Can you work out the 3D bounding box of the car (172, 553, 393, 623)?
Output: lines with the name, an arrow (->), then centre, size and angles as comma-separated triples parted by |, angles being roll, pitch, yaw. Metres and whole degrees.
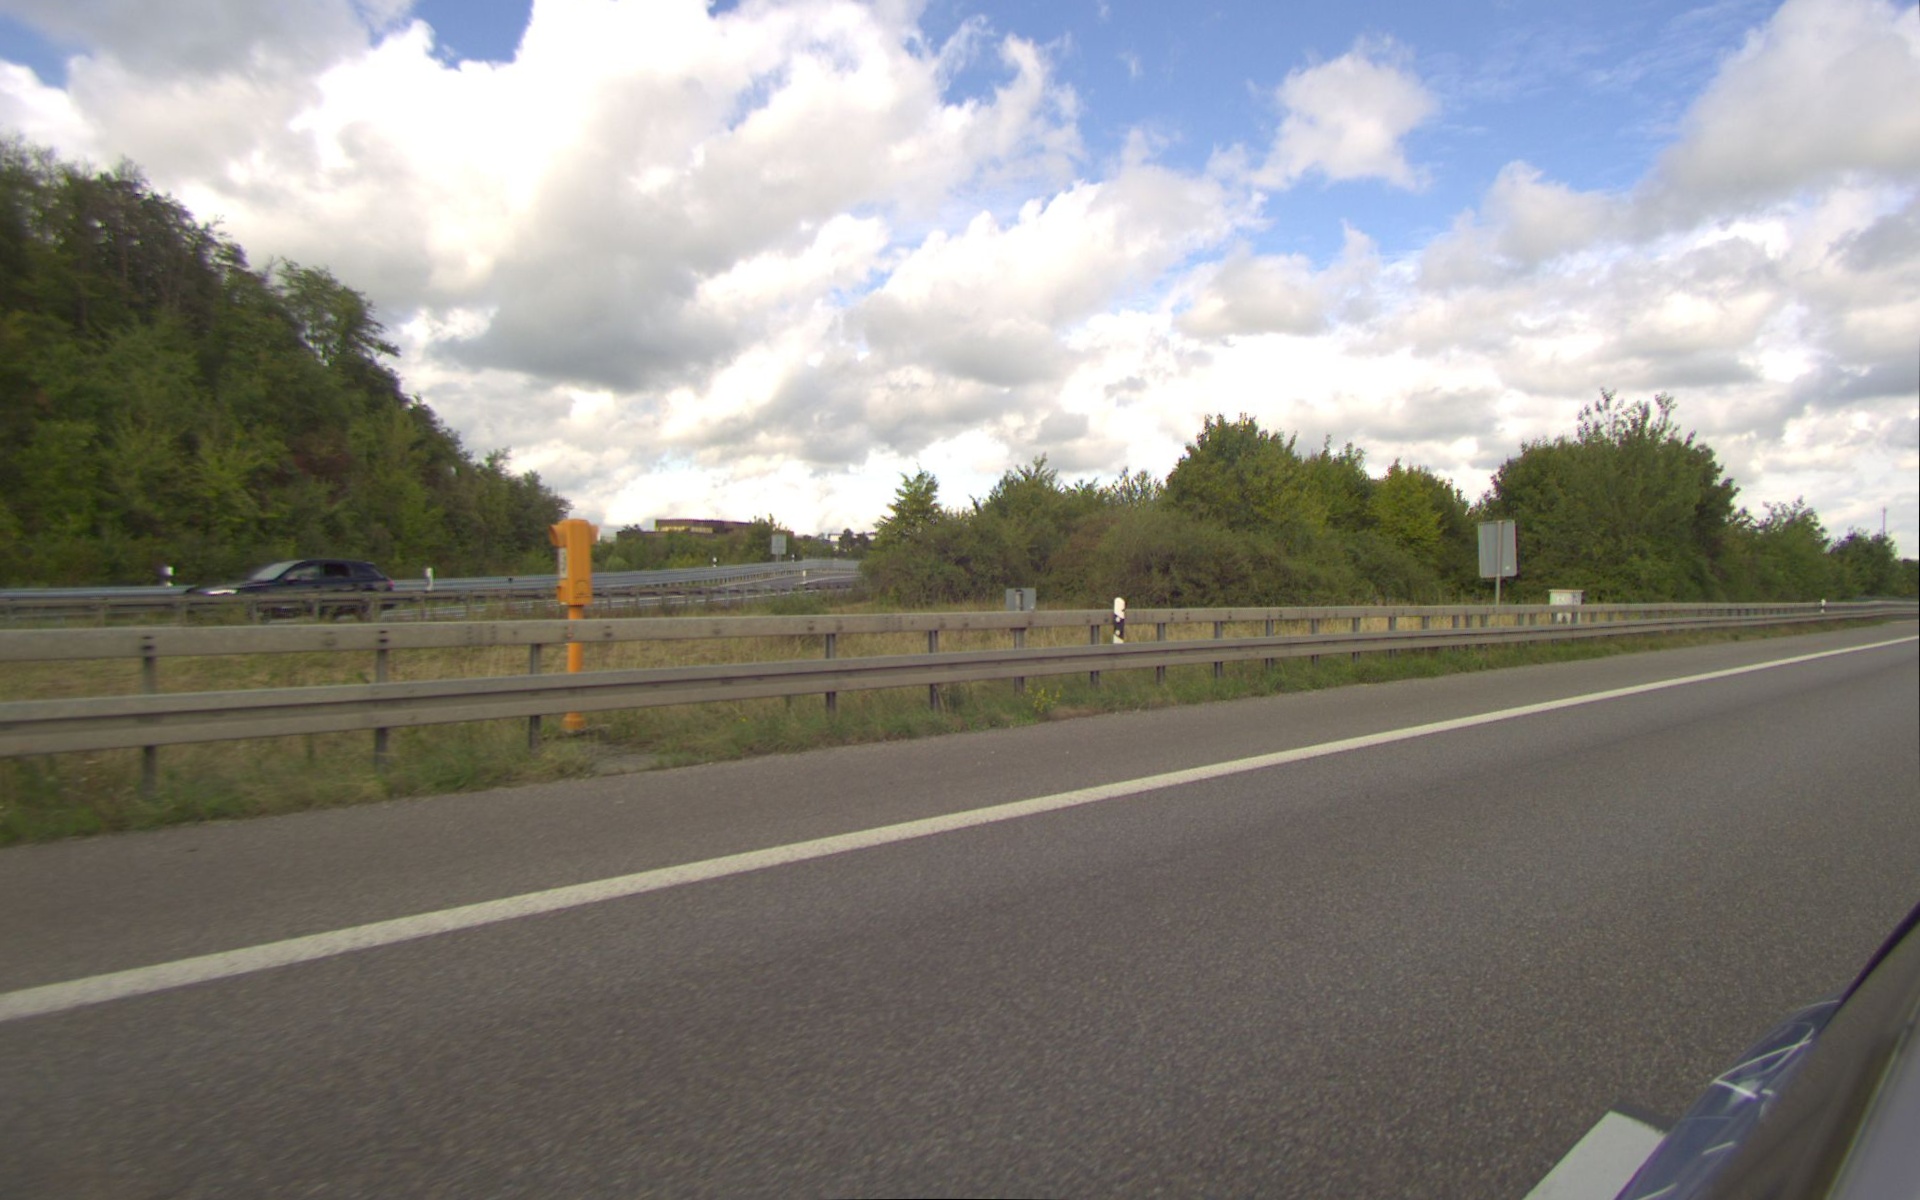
car -> -17.556, -0.329, 26.579 | 1.850, 1.656, 4.837 | 0, 1, 15
